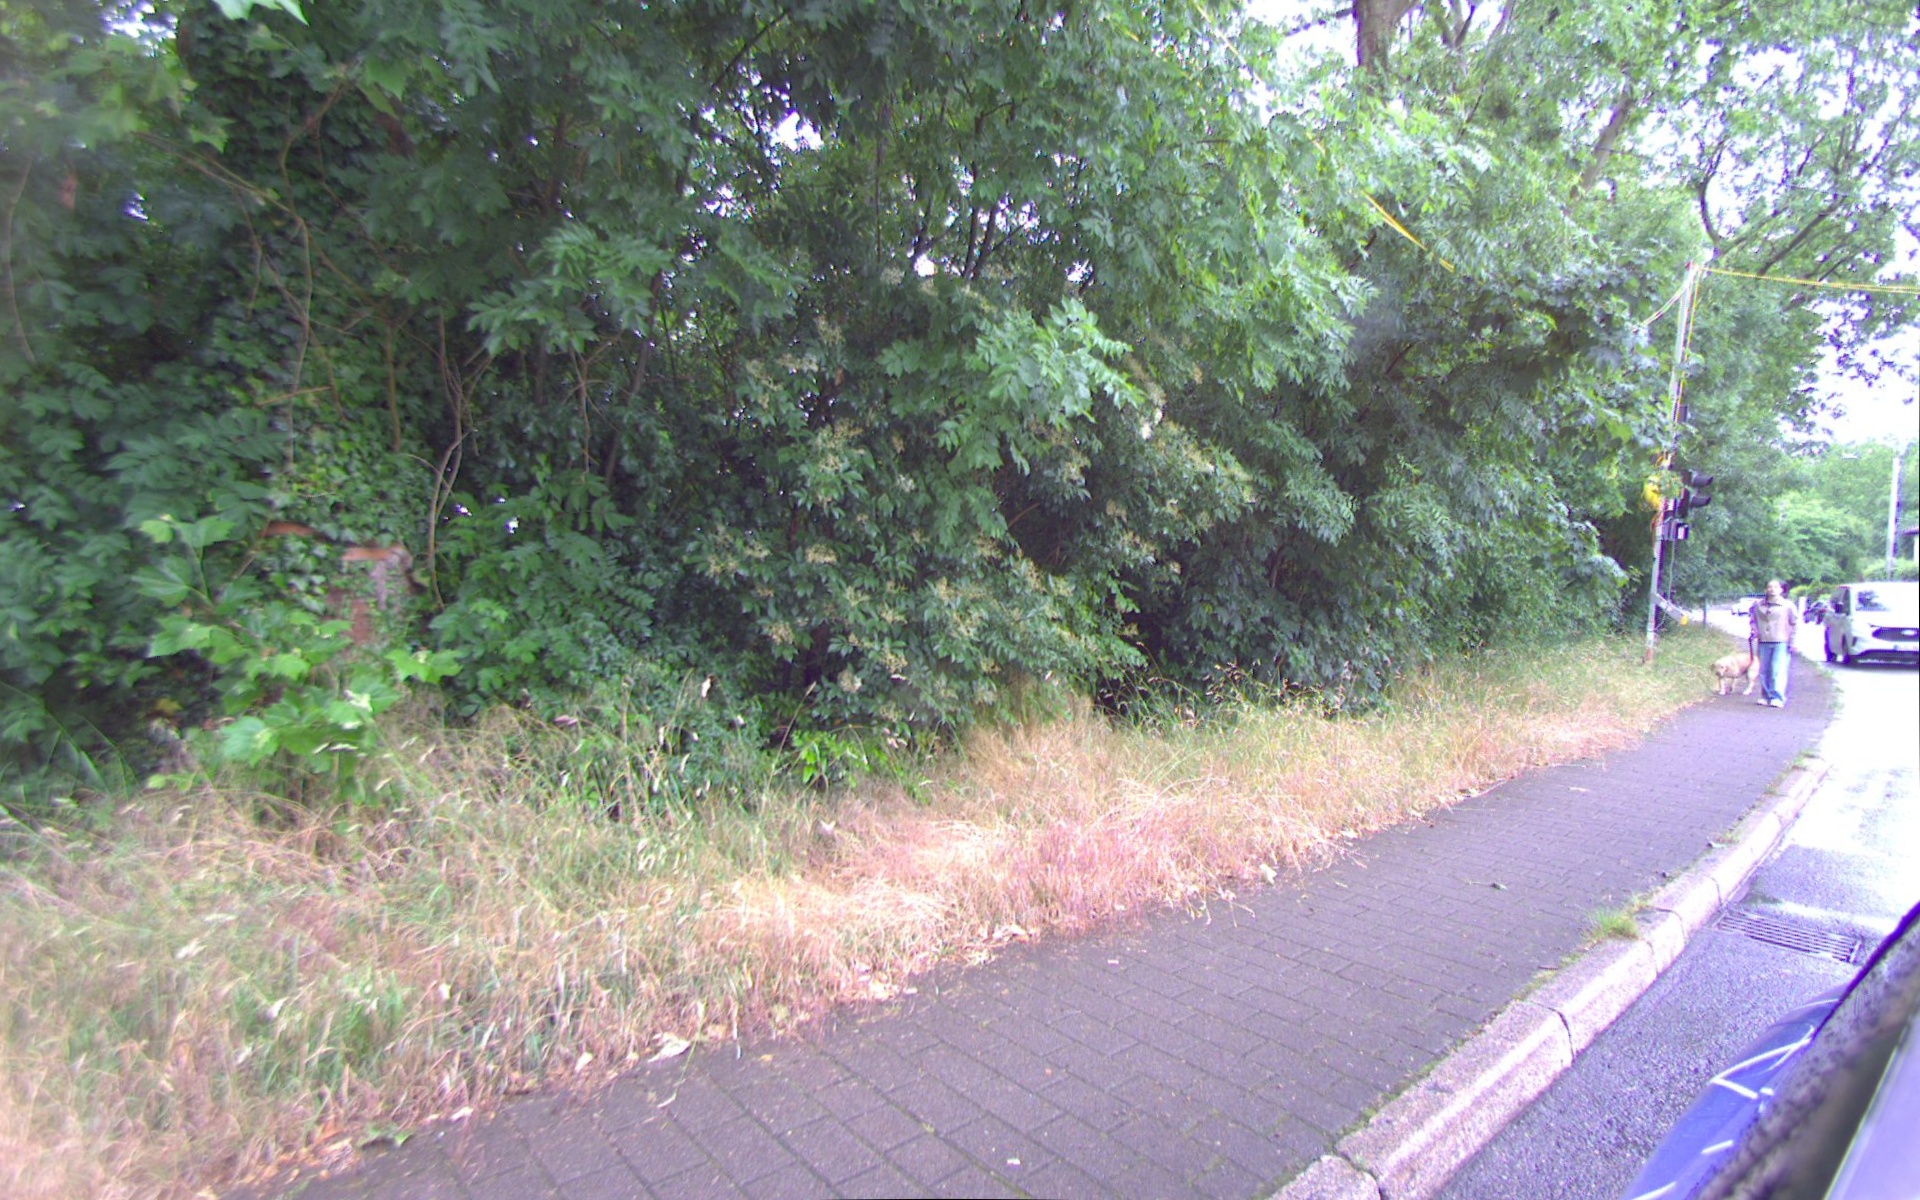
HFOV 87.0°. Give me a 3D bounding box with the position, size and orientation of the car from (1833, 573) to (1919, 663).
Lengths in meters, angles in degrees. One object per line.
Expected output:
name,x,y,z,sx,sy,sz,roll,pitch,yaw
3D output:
car,22.314,0.377,23.965,2.091,1.943,5.023,1,0,37

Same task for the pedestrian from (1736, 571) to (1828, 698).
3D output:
pedestrian,10.444,0.414,12.863,0.771,1.517,0.734,0,2,-42

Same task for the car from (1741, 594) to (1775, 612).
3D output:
car,64.929,0.205,82.372,1.676,1.445,3.734,1,1,31

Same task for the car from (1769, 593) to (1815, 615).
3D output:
car,60.736,0.285,73.919,2.055,1.504,4.509,1,1,33
